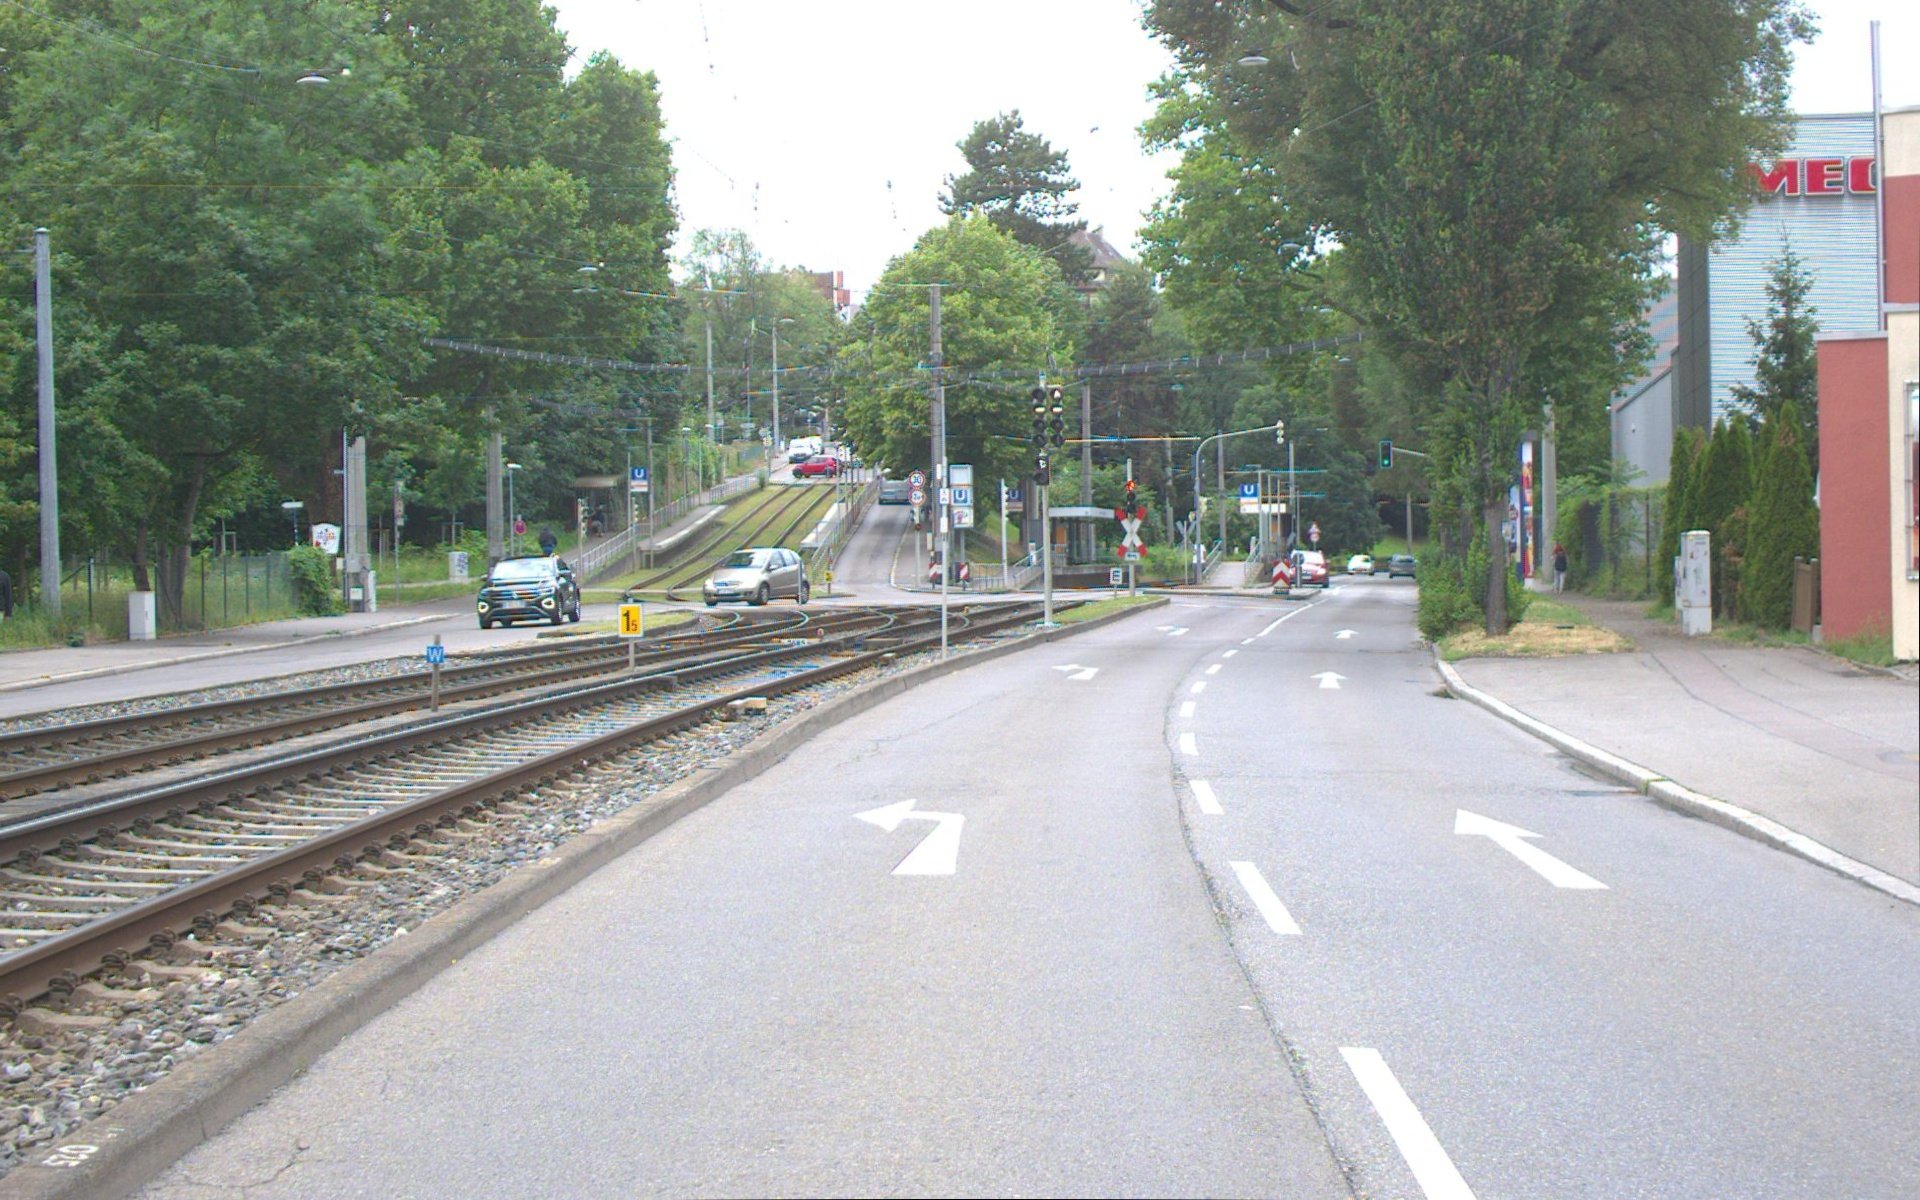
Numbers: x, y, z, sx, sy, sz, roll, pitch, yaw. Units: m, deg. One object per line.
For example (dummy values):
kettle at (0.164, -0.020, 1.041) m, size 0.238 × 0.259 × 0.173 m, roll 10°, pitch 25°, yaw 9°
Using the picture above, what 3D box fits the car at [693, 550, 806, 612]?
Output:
car at (-5.849, -0.557, 96.068) m, size 1.892 × 1.526 × 4.254 m, roll -4°, pitch 1°, yaw 14°

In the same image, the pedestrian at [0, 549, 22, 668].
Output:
pedestrian at (-15.008, 0.120, 53.194) m, size 0.676 × 1.807 × 0.855 m, roll 1°, pitch 1°, yaw 4°

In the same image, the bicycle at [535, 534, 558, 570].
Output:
bicycle at (-15.648, -1.822, 130.134) m, size 0.824 × 1.339 × 2.997 m, roll -1°, pitch 1°, yaw -7°

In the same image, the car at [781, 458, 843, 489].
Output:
car at (-10.477, -8.969, 243.932) m, size 3.989 × 2.007 × 1.999 m, roll -1°, pitch 1°, yaw 12°

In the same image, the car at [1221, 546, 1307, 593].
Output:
car at (10.110, -1.031, 114.074) m, size 1.995 × 1.510 × 4.497 m, roll 1°, pitch 1°, yaw 16°

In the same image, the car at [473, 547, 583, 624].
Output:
car at (-9.496, -0.341, 75.865) m, size 1.687 × 1.526 × 4.256 m, roll -4°, pitch 1°, yaw 1°

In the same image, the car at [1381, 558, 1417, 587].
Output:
car at (27.797, -1.737, 217.968) m, size 1.994 × 1.809 × 4.000 m, roll -1°, pitch 1°, yaw 4°

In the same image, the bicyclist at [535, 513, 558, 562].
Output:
bicyclist at (-15.679, -2.369, 130.241) m, size 0.821 × 1.843 × 1.052 m, roll -1°, pitch 1°, yaw -7°
